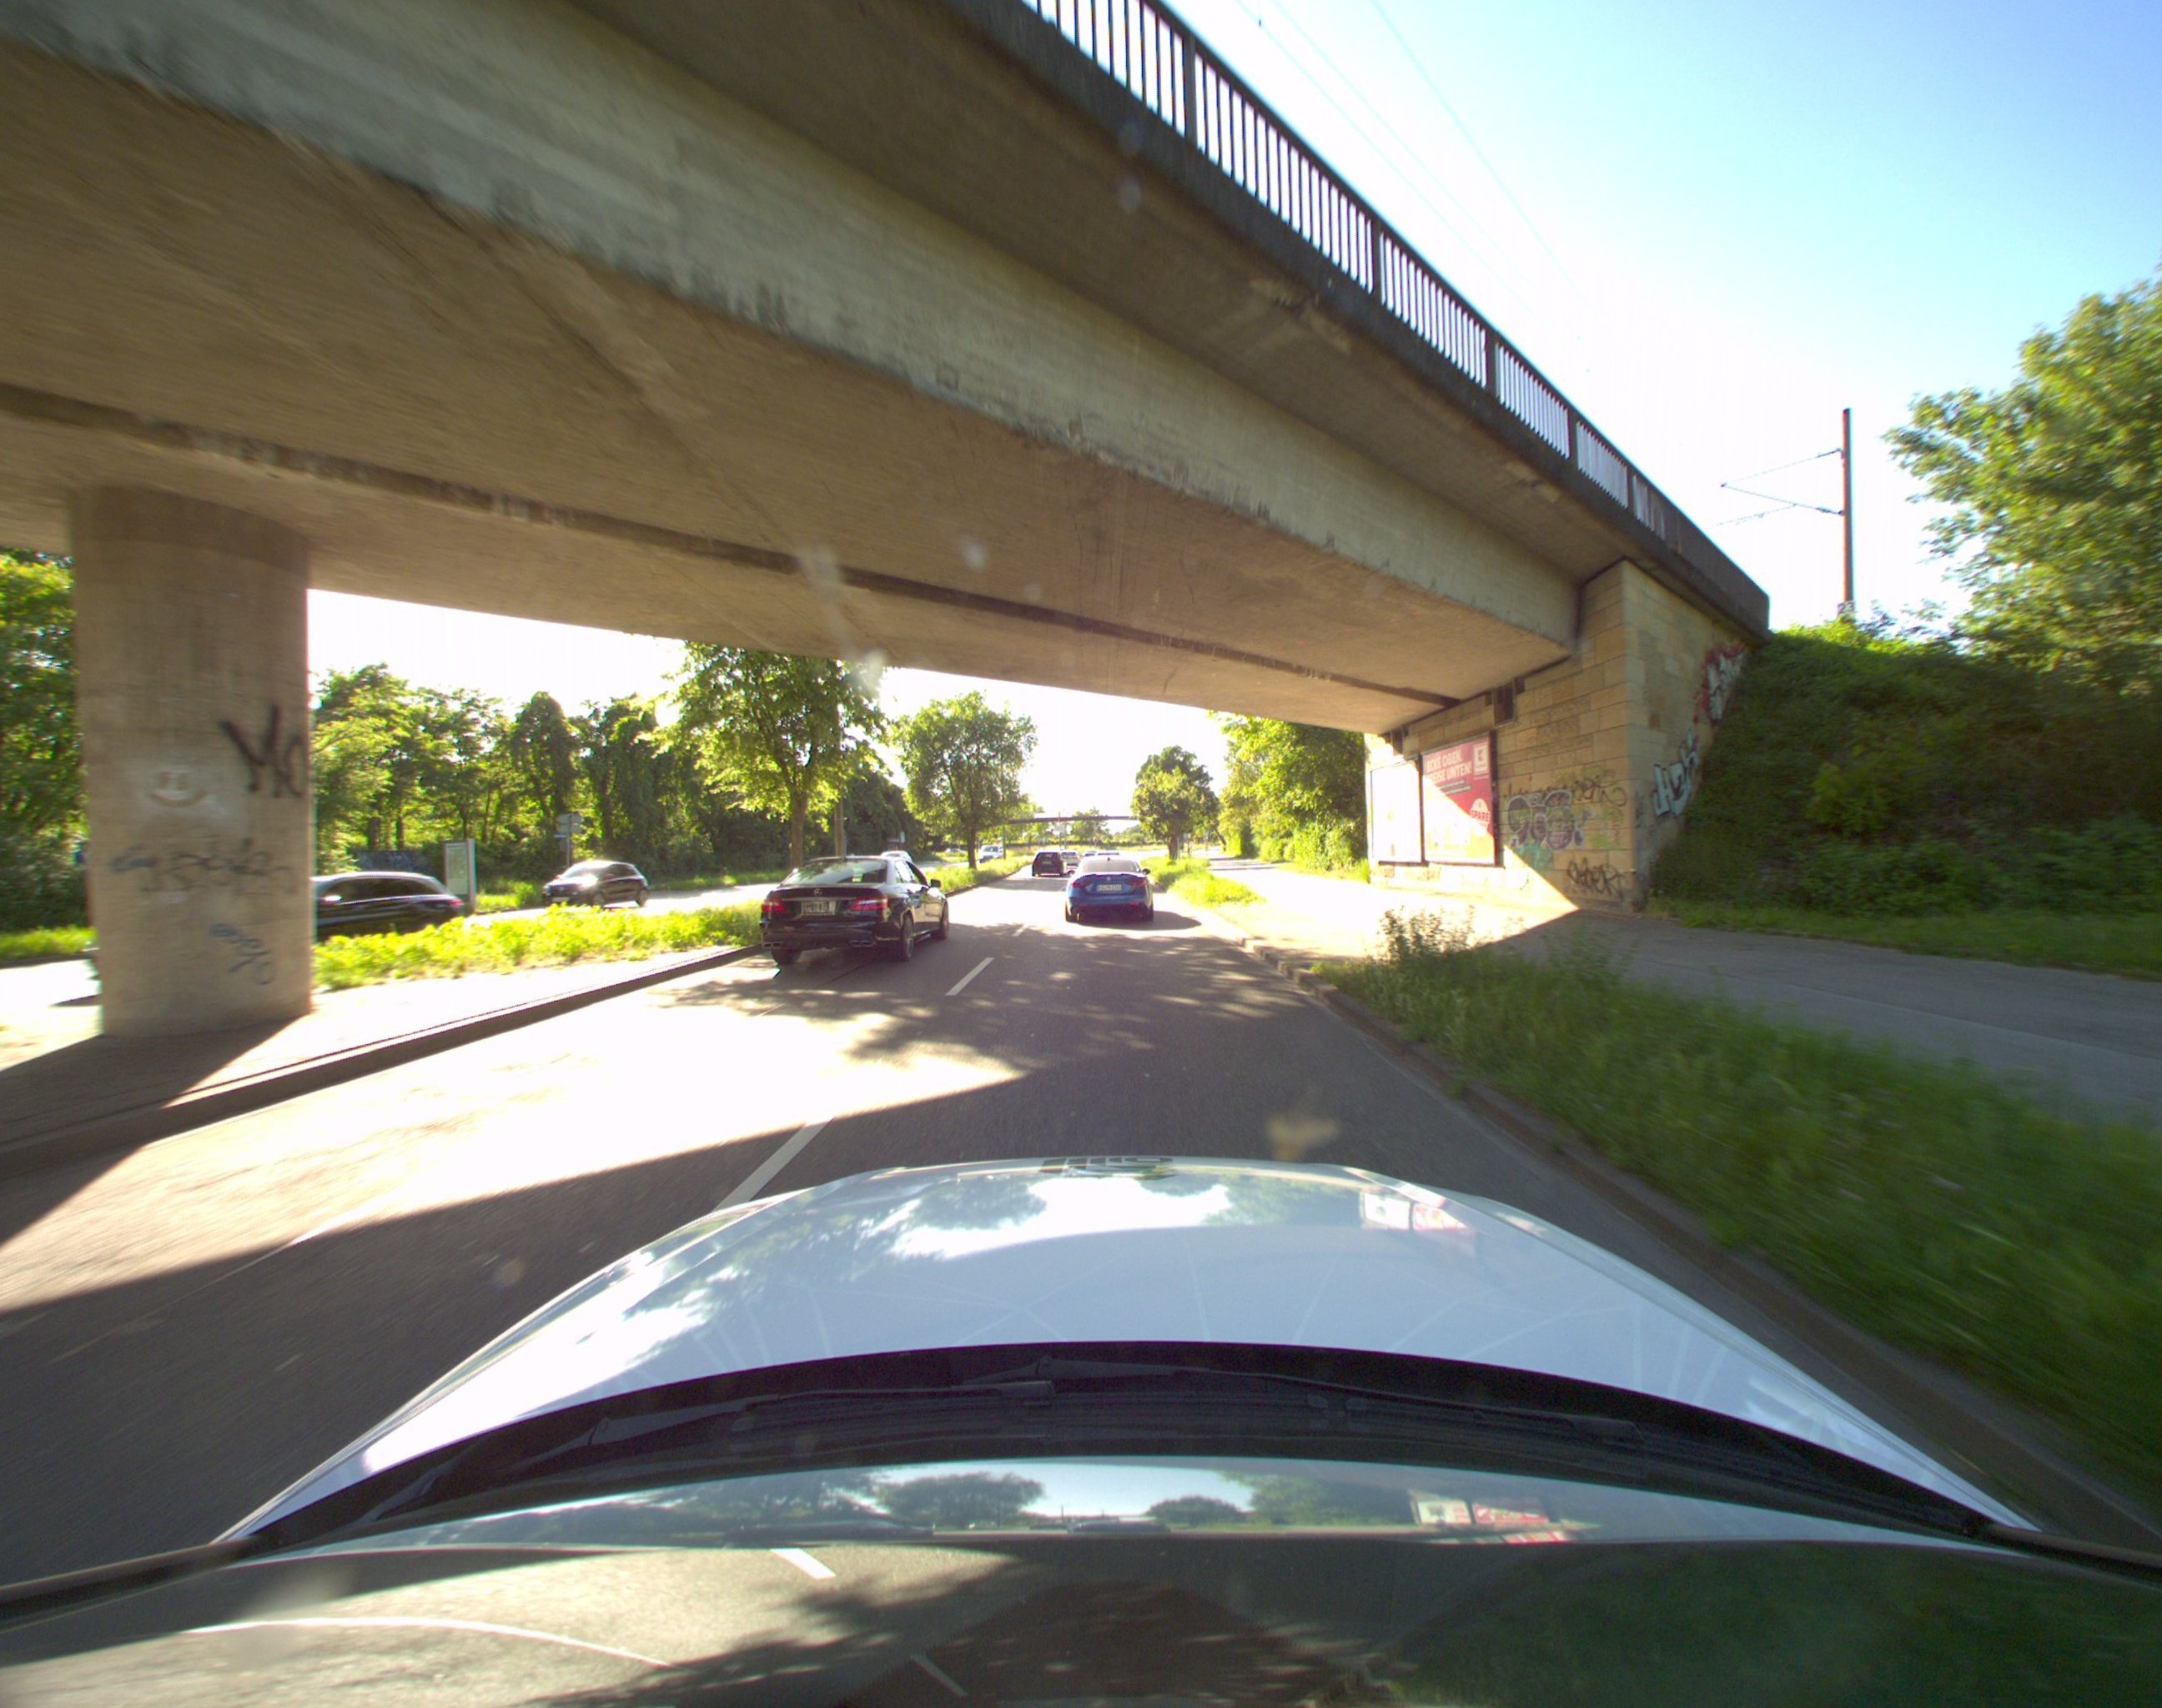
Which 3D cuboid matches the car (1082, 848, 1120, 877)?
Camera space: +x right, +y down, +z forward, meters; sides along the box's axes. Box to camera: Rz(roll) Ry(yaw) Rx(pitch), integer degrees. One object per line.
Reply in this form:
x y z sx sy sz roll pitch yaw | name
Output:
1.050 0.436 42.929 1.876 1.454 4.528 0 0 2 | car

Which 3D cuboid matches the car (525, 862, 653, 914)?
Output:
-15.974 1.066 26.690 1.836 1.461 3.640 -3 0 1 | car

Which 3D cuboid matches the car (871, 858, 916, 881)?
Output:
-13.451 1.064 58.638 1.974 1.552 4.595 0 0 3 | car

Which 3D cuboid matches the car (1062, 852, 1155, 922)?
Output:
0.614 0.668 18.644 1.876 1.406 4.225 0 0 2 | car

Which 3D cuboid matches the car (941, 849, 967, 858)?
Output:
-23.237 -0.032 148.617 4.269 1.650 2.011 0 0 21 | car

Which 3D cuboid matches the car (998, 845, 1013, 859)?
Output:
-11.721 -0.307 127.007 1.988 2.013 4.579 0 0 -2 | car

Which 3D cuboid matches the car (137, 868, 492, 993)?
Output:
-12.104 1.097 13.319 1.836 1.543 4.001 -4 0 2 | car

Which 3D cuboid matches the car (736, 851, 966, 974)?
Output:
-3.209 0.718 12.598 1.951 1.483 4.921 -1 0 2 | car

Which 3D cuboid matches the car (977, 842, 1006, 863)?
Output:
-8.583 -0.105 78.785 1.986 1.929 5.247 -2 0 2 | car

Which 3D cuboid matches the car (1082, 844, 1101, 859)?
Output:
1.092 -0.222 82.977 1.876 1.454 4.528 0 0 2 | car

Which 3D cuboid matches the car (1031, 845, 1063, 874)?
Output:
-1.882 0.314 46.638 1.703 1.598 4.222 0 0 -1 | car

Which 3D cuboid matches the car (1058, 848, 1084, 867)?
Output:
-0.785 0.236 65.250 1.876 1.454 4.528 0 0 2 | car
